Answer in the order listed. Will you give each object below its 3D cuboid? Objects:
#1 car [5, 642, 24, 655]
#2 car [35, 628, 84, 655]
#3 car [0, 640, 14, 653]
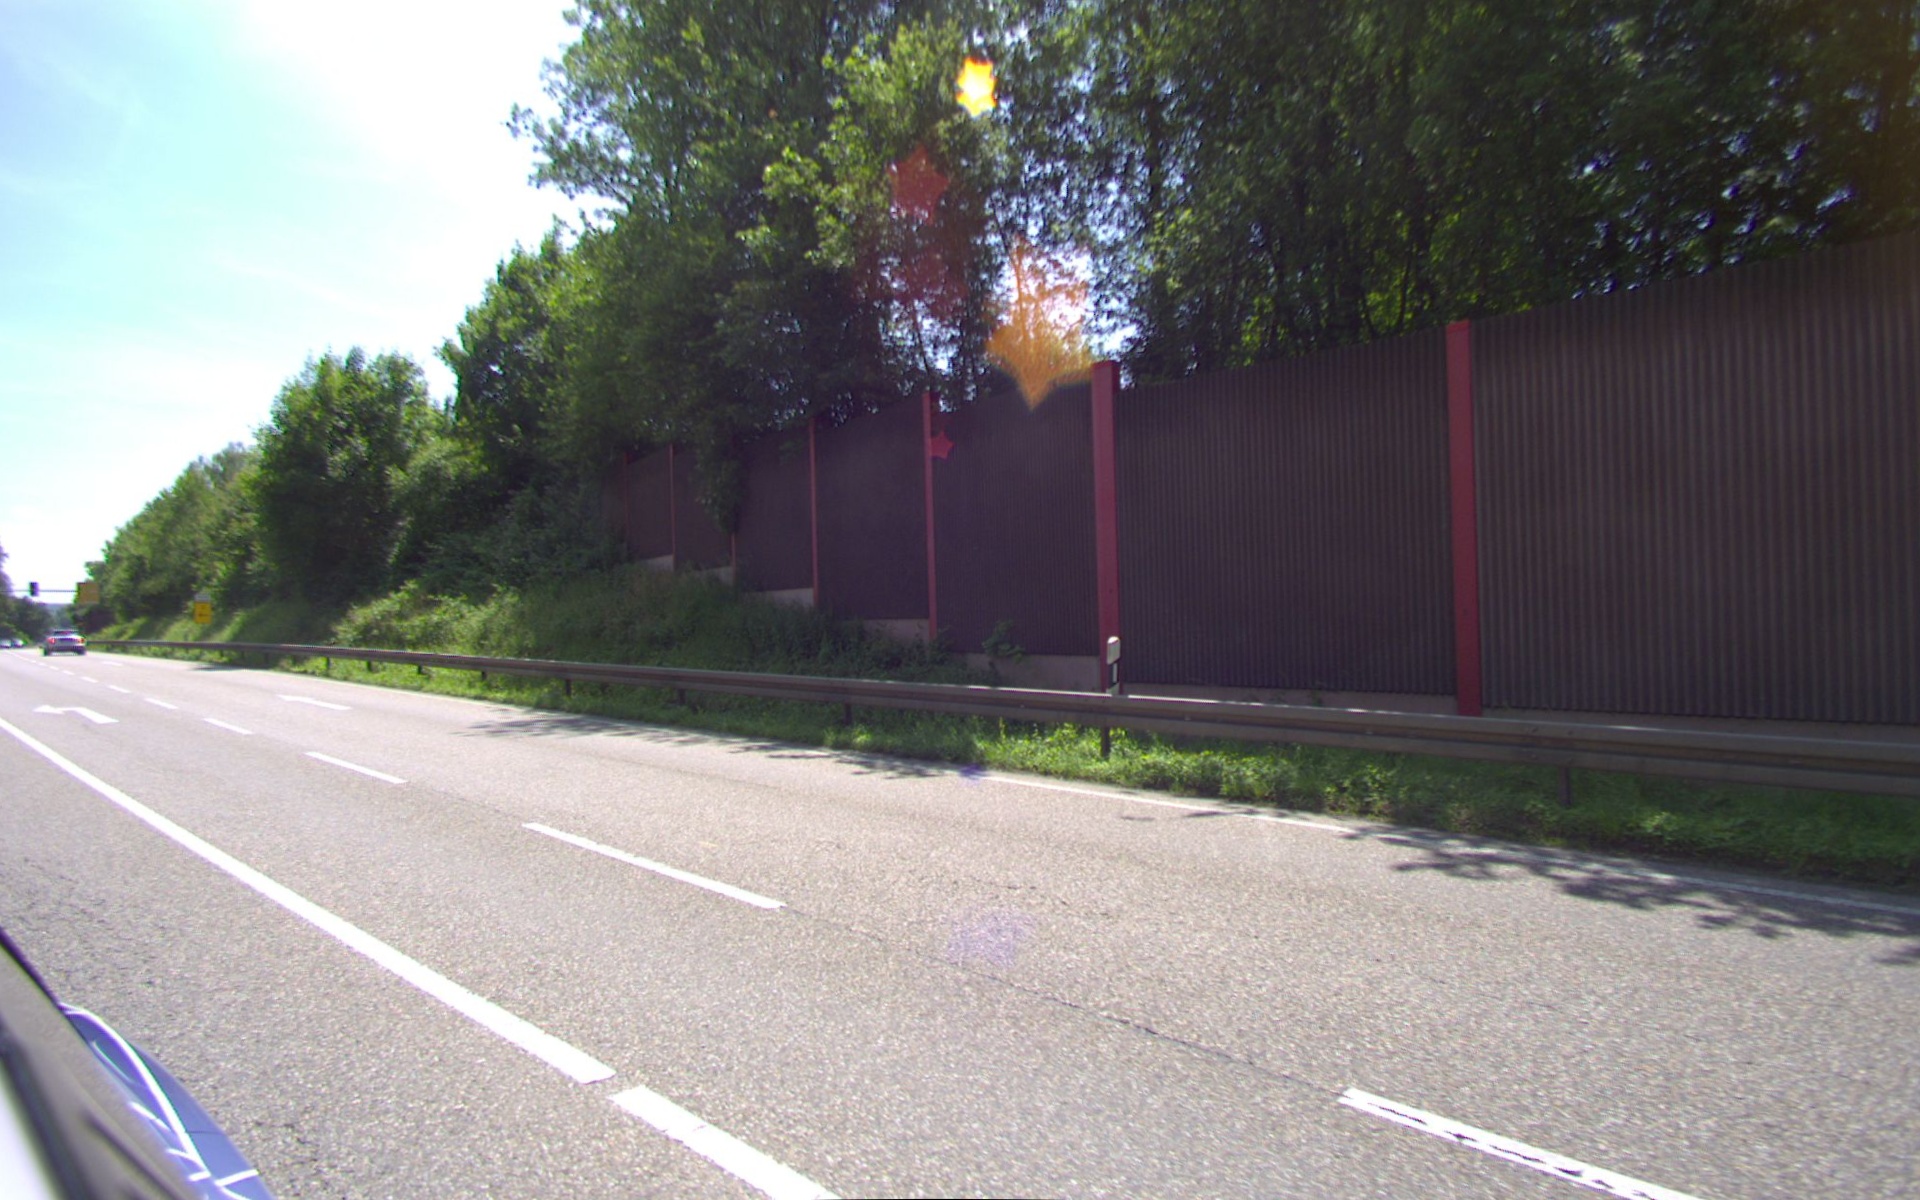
[{"bbox_3d":[-151.575,7.781,162.207,1.969,2.029,4.006,-2,0,-41],"label":"car"},{"bbox_3d":[-50.152,2.315,56.343,3.872,1.446,1.786,-2,-2,44],"label":"car"},{"bbox_3d":[-143.520,7.008,151.850,1.969,1.815,4.006,-2,0,-41],"label":"car"}]
